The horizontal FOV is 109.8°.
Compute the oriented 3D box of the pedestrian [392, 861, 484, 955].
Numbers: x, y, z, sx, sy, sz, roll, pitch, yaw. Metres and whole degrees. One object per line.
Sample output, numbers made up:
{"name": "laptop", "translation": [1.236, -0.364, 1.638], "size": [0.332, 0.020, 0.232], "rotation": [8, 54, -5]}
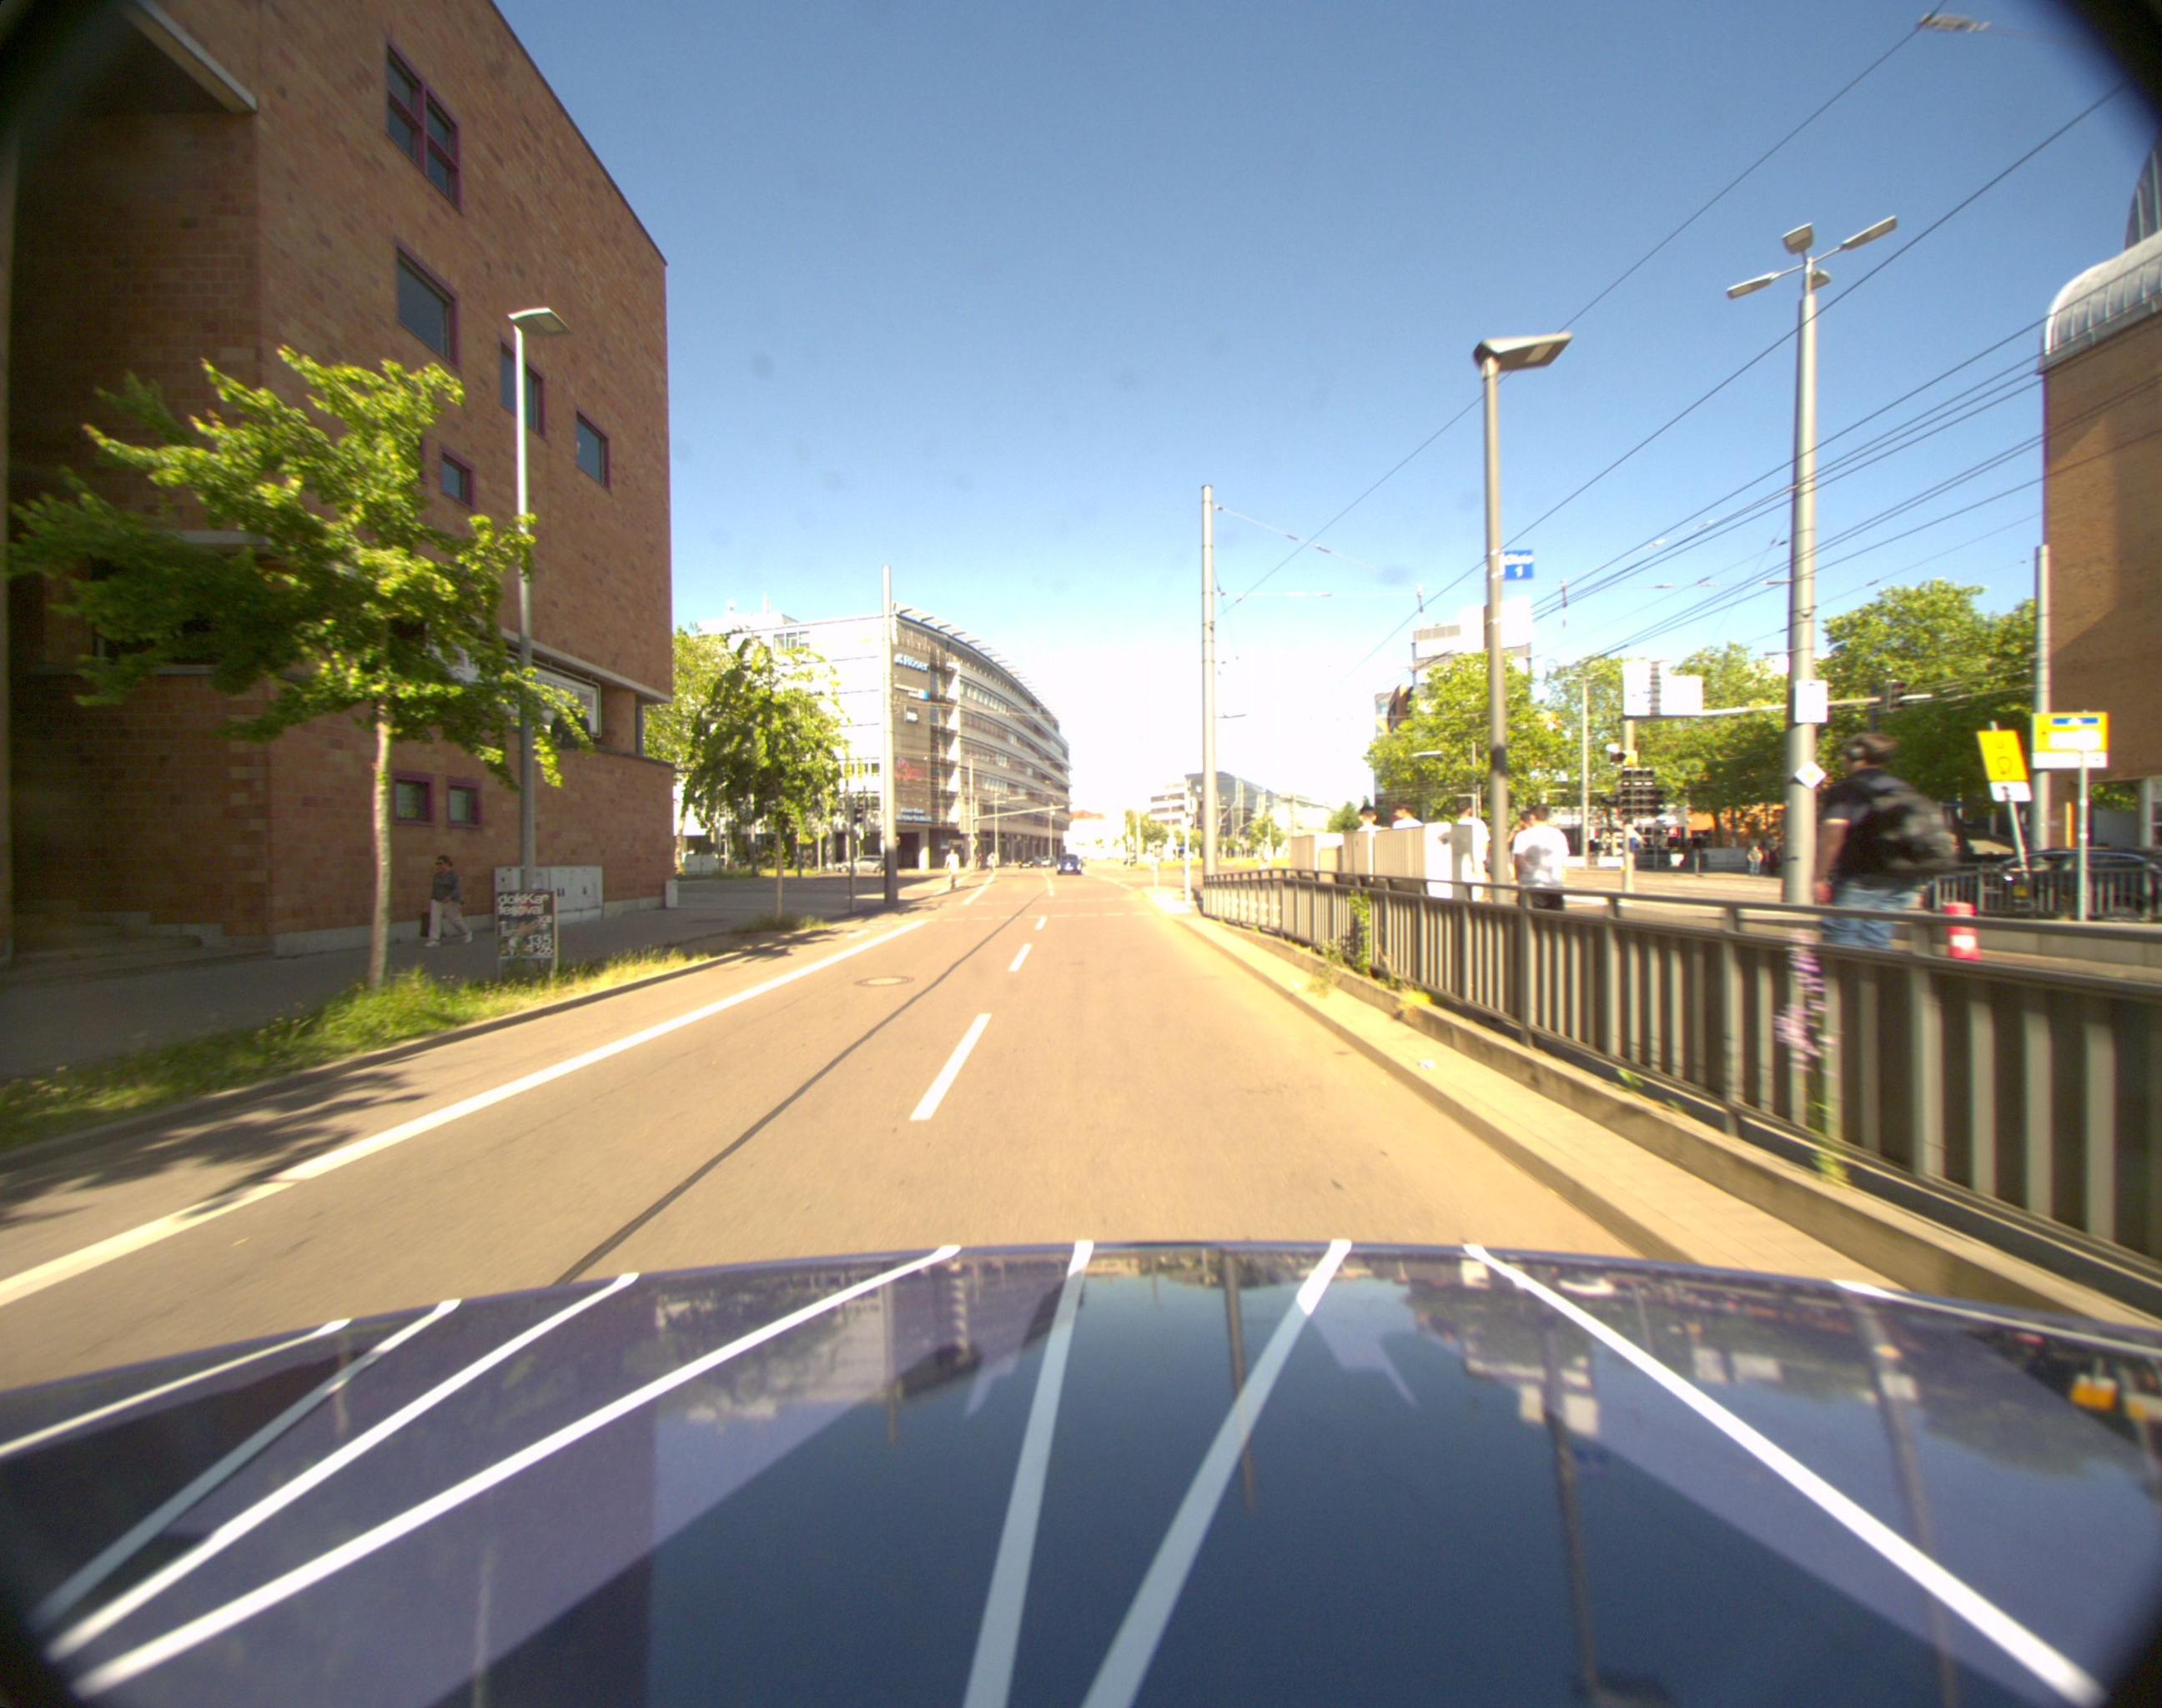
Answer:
{"name": "pedestrian", "translation": [-11.560, 0.943, 13.692], "size": [0.790, 1.610, 0.976], "rotation": [0, 1, -1]}

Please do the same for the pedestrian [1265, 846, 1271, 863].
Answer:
{"name": "pedestrian", "translation": [18.926, 0.072, 76.962], "size": [0.580, 1.669, 0.548], "rotation": [0, 1, 14]}

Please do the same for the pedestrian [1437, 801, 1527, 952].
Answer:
{"name": "pedestrian", "translation": [4.875, 0.257, 9.285], "size": [0.649, 1.764, 0.820], "rotation": [0, 1, -2]}

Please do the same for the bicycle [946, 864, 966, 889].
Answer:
{"name": "bicycle", "translation": [-5.946, 1.058, 36.273], "size": [0.578, 1.090, 1.507], "rotation": [-3, 0, 4]}

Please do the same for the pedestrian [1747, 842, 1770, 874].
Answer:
{"name": "pedestrian", "translation": [37.111, 0.222, 41.618], "size": [0.645, 1.696, 0.728], "rotation": [0, 1, 6]}

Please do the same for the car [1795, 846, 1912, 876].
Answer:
{"name": "car", "translation": [38.675, 0.336, 38.138], "size": [3.670, 1.402, 1.813], "rotation": [0, 1, 20]}

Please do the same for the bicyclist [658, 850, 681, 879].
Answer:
{"name": "bicyclist", "translation": [-24.099, 0.603, 44.508], "size": [0.936, 1.659, 0.685], "rotation": [-1, 1, -6]}

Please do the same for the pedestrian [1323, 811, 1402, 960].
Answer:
{"name": "pedestrian", "translation": [3.424, 0.367, 9.298], "size": [0.649, 1.733, 0.820], "rotation": [0, 1, -2]}

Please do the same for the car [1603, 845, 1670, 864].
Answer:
{"name": "car", "translation": [46.840, 0.051, 64.089], "size": [4.168, 1.499, 1.910], "rotation": [0, 1, 4]}

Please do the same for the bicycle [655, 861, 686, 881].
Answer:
{"name": "bicycle", "translation": [-24.042, 1.010, 44.522], "size": [1.542, 1.140, 0.481], "rotation": [-1, 1, -5]}

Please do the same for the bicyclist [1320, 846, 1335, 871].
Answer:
{"name": "bicyclist", "translation": [16.086, 0.266, 49.577], "size": [0.847, 1.630, 0.780], "rotation": [0, 1, 29]}

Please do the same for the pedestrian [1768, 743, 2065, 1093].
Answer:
{"name": "pedestrian", "translation": [4.696, 0.329, 4.344], "size": [0.756, 1.800, 0.840], "rotation": [0, 1, -2]}

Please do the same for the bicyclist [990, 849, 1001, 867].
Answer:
{"name": "bicyclist", "translation": [-7.547, 0.362, 67.231], "size": [0.755, 1.607, 0.762], "rotation": [-3, 1, 5]}

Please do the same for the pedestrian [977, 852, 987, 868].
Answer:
{"name": "pedestrian", "translation": [-10.512, 0.677, 80.666], "size": [0.858, 1.678, 0.802], "rotation": [0, 1, 15]}

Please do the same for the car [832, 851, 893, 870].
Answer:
{"name": "car", "translation": [-18.836, 0.525, 65.476], "size": [4.856, 1.548, 1.932], "rotation": [-1, 1, -22]}

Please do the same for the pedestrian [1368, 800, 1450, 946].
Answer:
{"name": "pedestrian", "translation": [4.057, 0.223, 9.458], "size": [0.649, 1.733, 0.820], "rotation": [0, 1, -2]}

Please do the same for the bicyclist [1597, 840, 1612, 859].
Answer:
{"name": "bicyclist", "translation": [49.365, -0.448, 71.666], "size": [0.926, 1.798, 0.861], "rotation": [0, 1, 7]}

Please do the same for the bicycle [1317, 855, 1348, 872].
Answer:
{"name": "bicycle", "translation": [16.381, 0.625, 49.462], "size": [1.836, 1.093, 0.639], "rotation": [0, 1, 29]}

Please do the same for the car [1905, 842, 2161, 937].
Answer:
{"name": "car", "translation": [18.004, 0.532, 13.603], "size": [1.936, 1.489, 4.289], "rotation": [0, 1, 3]}

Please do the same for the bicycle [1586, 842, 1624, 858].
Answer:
{"name": "bicycle", "translation": [49.293, -0.358, 71.501], "size": [2.844, 1.528, 0.904], "rotation": [0, 1, 8]}

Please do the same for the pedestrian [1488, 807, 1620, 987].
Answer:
{"name": "pedestrian", "translation": [4.451, 0.384, 7.209], "size": [0.756, 1.609, 0.775], "rotation": [0, 1, -2]}

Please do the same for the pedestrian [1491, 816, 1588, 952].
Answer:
{"name": "pedestrian", "translation": [5.498, 0.338, 9.161], "size": [0.609, 1.560, 0.908], "rotation": [0, 1, -2]}

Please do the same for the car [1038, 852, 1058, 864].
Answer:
{"name": "car", "translation": [-4.307, 0.520, 99.390], "size": [1.882, 1.456, 4.002], "rotation": [-2, 1, 8]}

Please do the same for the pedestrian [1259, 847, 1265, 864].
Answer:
{"name": "pedestrian", "translation": [17.990, 0.150, 75.584], "size": [0.580, 1.625, 0.548], "rotation": [0, 1, 14]}

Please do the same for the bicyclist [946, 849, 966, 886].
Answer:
{"name": "bicyclist", "translation": [-5.956, 0.640, 36.297], "size": [0.684, 1.718, 0.909], "rotation": [-3, 1, 2]}

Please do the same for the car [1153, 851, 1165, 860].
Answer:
{"name": "car", "translation": [13.764, 0.248, 133.978], "size": [1.953, 1.456, 4.002], "rotation": [-2, 1, 9]}

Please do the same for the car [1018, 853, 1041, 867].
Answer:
{"name": "car", "translation": [-6.064, 0.698, 90.059], "size": [1.882, 1.456, 4.002], "rotation": [-2, 1, 8]}

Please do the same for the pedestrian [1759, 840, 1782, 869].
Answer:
{"name": "pedestrian", "translation": [38.367, 0.029, 42.269], "size": [0.645, 1.601, 0.728], "rotation": [0, 1, 6]}

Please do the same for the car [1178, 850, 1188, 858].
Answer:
{"name": "car", "translation": [21.114, 0.021, 157.041], "size": [1.953, 1.456, 4.002], "rotation": [-2, 1, 9]}

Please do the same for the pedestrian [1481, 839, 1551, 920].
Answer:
{"name": "pedestrian", "translation": [9.296, 0.535, 16.283], "size": [0.960, 1.680, 1.007], "rotation": [0, 1, 4]}

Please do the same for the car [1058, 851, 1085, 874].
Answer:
{"name": "car", "translation": [-0.679, 0.594, 57.411], "size": [1.802, 1.597, 4.000], "rotation": [-2, 1, 2]}

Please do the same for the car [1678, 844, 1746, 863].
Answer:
{"name": "car", "translation": [52.551, -0.055, 63.311], "size": [3.995, 1.499, 1.910], "rotation": [0, 1, 4]}

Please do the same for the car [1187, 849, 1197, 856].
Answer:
{"name": "car", "translation": [24.880, -0.334, 170.123], "size": [1.953, 1.456, 4.002], "rotation": [-2, 1, 9]}

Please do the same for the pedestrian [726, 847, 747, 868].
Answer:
{"name": "pedestrian", "translation": [-32.875, 0.327, 72.552], "size": [1.182, 2.002, 1.467], "rotation": [0, 1, 9]}

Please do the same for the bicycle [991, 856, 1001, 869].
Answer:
{"name": "bicycle", "translation": [-7.497, 0.718, 67.275], "size": [0.578, 1.090, 1.507], "rotation": [-3, 0, 4]}

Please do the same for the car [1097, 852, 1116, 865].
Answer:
{"name": "car", "translation": [3.157, 0.567, 93.315], "size": [1.882, 1.456, 4.002], "rotation": [-2, 1, 9]}

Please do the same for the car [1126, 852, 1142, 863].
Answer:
{"name": "car", "translation": [7.843, 0.525, 112.017], "size": [1.882, 1.456, 4.002], "rotation": [-2, 1, 9]}
